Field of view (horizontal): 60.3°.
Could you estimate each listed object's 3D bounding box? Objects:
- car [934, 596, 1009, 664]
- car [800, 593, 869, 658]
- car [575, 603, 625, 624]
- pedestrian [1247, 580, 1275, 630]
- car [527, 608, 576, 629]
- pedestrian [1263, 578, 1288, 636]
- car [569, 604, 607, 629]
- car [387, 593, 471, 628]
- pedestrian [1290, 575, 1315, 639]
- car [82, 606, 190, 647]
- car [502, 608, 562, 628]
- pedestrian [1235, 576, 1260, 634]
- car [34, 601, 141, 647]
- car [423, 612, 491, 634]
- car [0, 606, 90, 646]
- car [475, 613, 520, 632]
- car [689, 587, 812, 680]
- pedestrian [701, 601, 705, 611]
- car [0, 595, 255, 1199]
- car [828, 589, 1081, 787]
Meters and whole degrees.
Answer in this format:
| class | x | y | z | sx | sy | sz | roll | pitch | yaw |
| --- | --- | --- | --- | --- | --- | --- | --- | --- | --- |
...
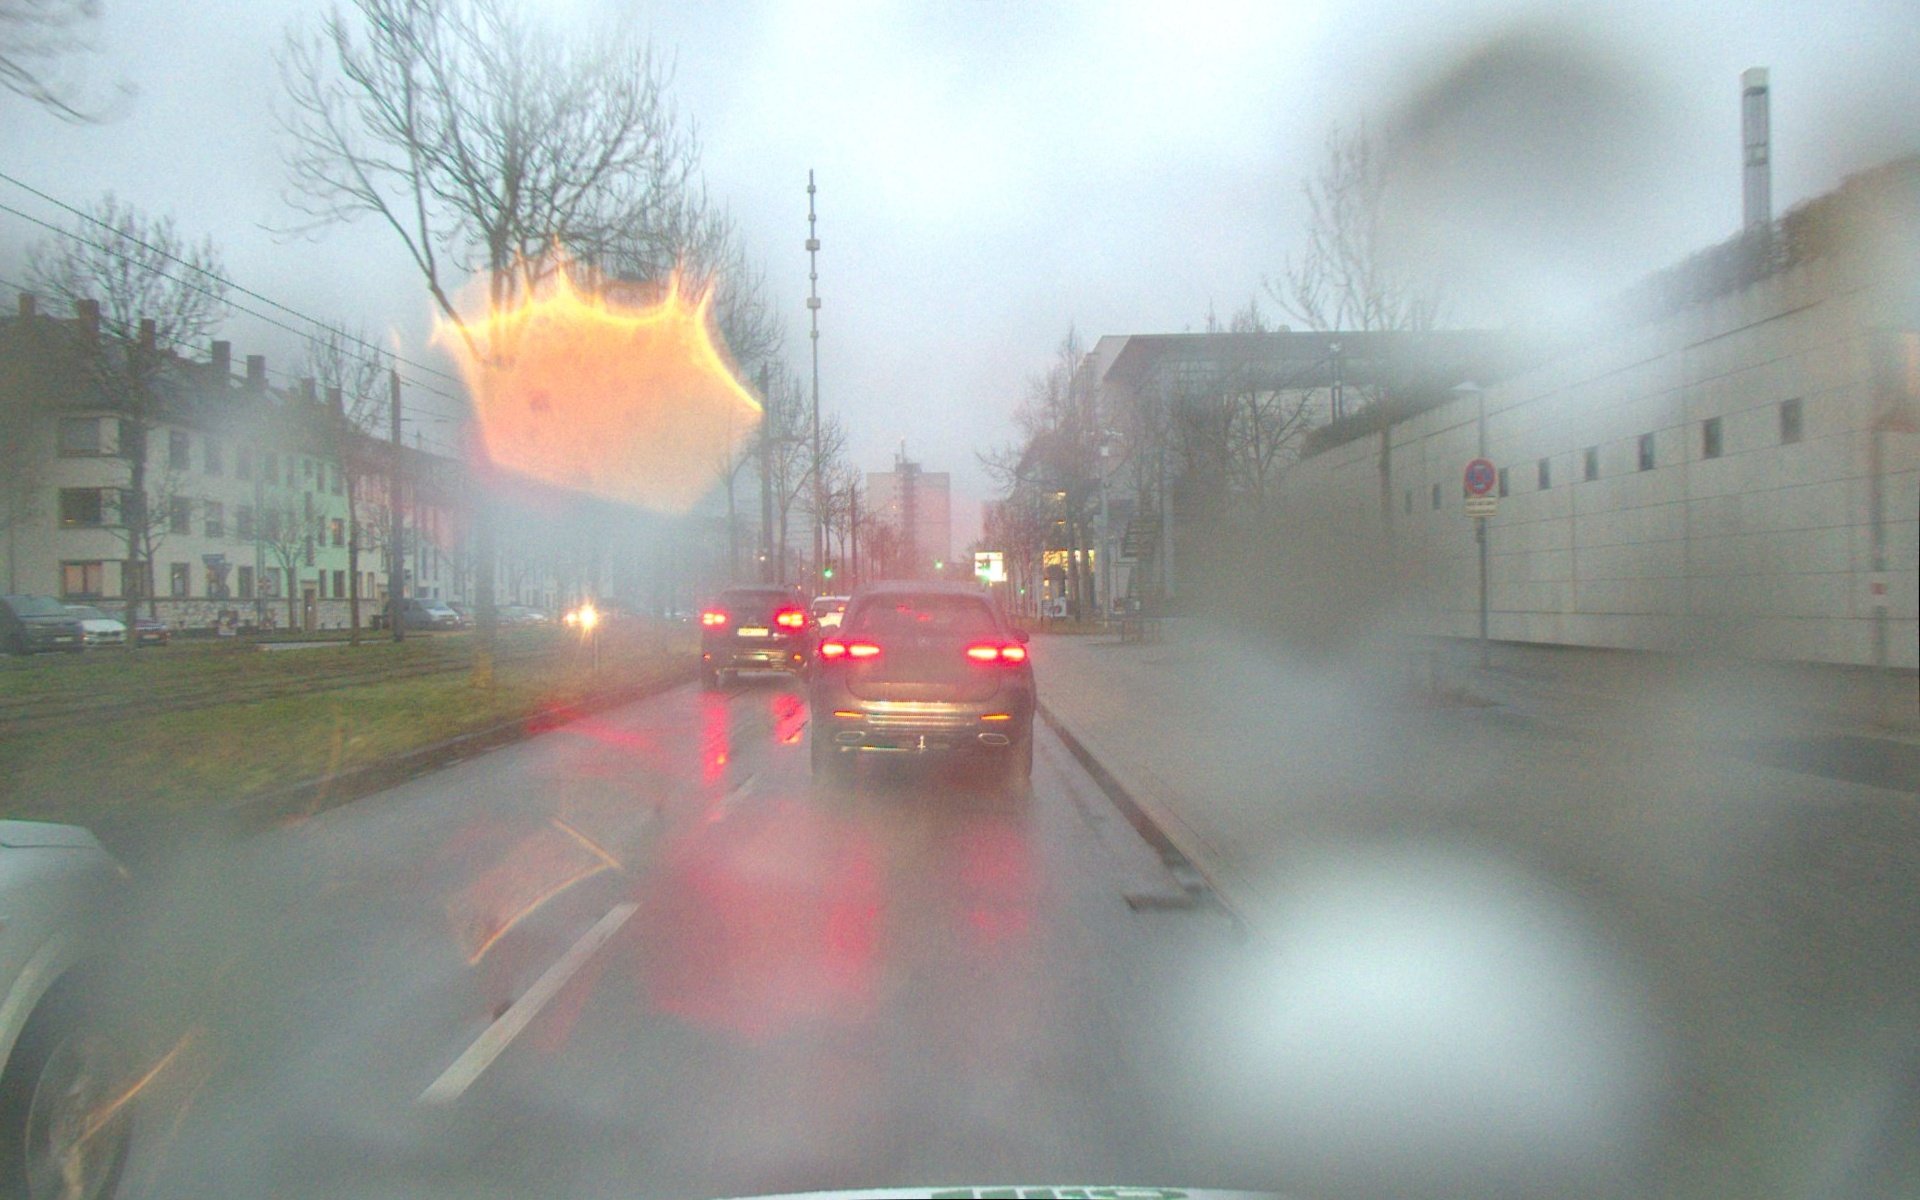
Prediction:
| class | x | y | z | sx | sy | sz | roll | pitch | yaw |
| --- | --- | --- | --- | --- | --- | --- | --- | --- | --- |
| car | 0.248 | 0.746 | 42.412 | 1.817 | 1.664 | 3.473 | 1 | 0 | -1 |
| car | -3.354 | 0.681 | 44.722 | 1.655 | 1.664 | 3.473 | 1 | 0 | -1 |
| car | -29.039 | 1.070 | 133.415 | 3.765 | 1.616 | 1.739 | 1 | 0 | 30 |
| pedestrian | 10.324 | 0.165 | 56.788 | 0.654 | 1.684 | 0.993 | -1 | -1 | -6 |
| car | -28.280 | 1.300 | 114.493 | 2.874 | 1.359 | 1.733 | 1 | 0 | 32 |
| pedestrian | 8.954 | 0.192 | 46.998 | 0.658 | 1.640 | 0.615 | 1 | -1 | 13 |
| car | -23.163 | 0.999 | 103.041 | 1.514 | 1.530 | 3.783 | 1 | 0 | 0 |
| car | -28.519 | 0.546 | 88.766 | 4.561 | 1.754 | 1.828 | 1 | 0 | 33 |
| pedestrian | 9.701 | 0.195 | 46.892 | 0.658 | 1.809 | 0.615 | 1 | -1 | 13 |
| car | -28.062 | 0.891 | 56.316 | 4.027 | 1.181 | 1.704 | 3 | -1 | 38 |
| car | -27.923 | 1.167 | 107.849 | 3.766 | 1.267 | 1.731 | 1 | 0 | 35 |
| pedestrian | 8.379 | 0.150 | 48.182 | 0.658 | 1.653 | 0.615 | 1 | -1 | 14 |
| car | -27.818 | 0.759 | 52.712 | 3.964 | 1.251 | 1.343 | 3 | -1 | 36 |
| car | -28.164 | 1.294 | 92.574 | 3.496 | 1.161 | 1.732 | 1 | 0 | 32 |
| car | -27.493 | 0.762 | 49.093 | 2.860 | 1.007 | 1.789 | 3 | -1 | 34 |
| car | -28.303 | 1.356 | 101.151 | 2.341 | 1.067 | 1.433 | 1 | 1 | 32 |
| car | -3.546 | 0.552 | 28.603 | 1.781 | 1.476 | 3.998 | 1 | 0 | -3 |
| pedestrian | -31.297 | 0.782 | 201.195 | 0.343 | 1.205 | 0.427 | 1 | -1 | -41 |
| car | -2.684 | 0.727 | 2.385 | 1.654 | 1.500 | 4.000 | 1 | 0 | -1 |
| car | -0.073 | 0.703 | 14.740 | 1.953 | 1.509 | 3.699 | 1 | -1 | -1 |
